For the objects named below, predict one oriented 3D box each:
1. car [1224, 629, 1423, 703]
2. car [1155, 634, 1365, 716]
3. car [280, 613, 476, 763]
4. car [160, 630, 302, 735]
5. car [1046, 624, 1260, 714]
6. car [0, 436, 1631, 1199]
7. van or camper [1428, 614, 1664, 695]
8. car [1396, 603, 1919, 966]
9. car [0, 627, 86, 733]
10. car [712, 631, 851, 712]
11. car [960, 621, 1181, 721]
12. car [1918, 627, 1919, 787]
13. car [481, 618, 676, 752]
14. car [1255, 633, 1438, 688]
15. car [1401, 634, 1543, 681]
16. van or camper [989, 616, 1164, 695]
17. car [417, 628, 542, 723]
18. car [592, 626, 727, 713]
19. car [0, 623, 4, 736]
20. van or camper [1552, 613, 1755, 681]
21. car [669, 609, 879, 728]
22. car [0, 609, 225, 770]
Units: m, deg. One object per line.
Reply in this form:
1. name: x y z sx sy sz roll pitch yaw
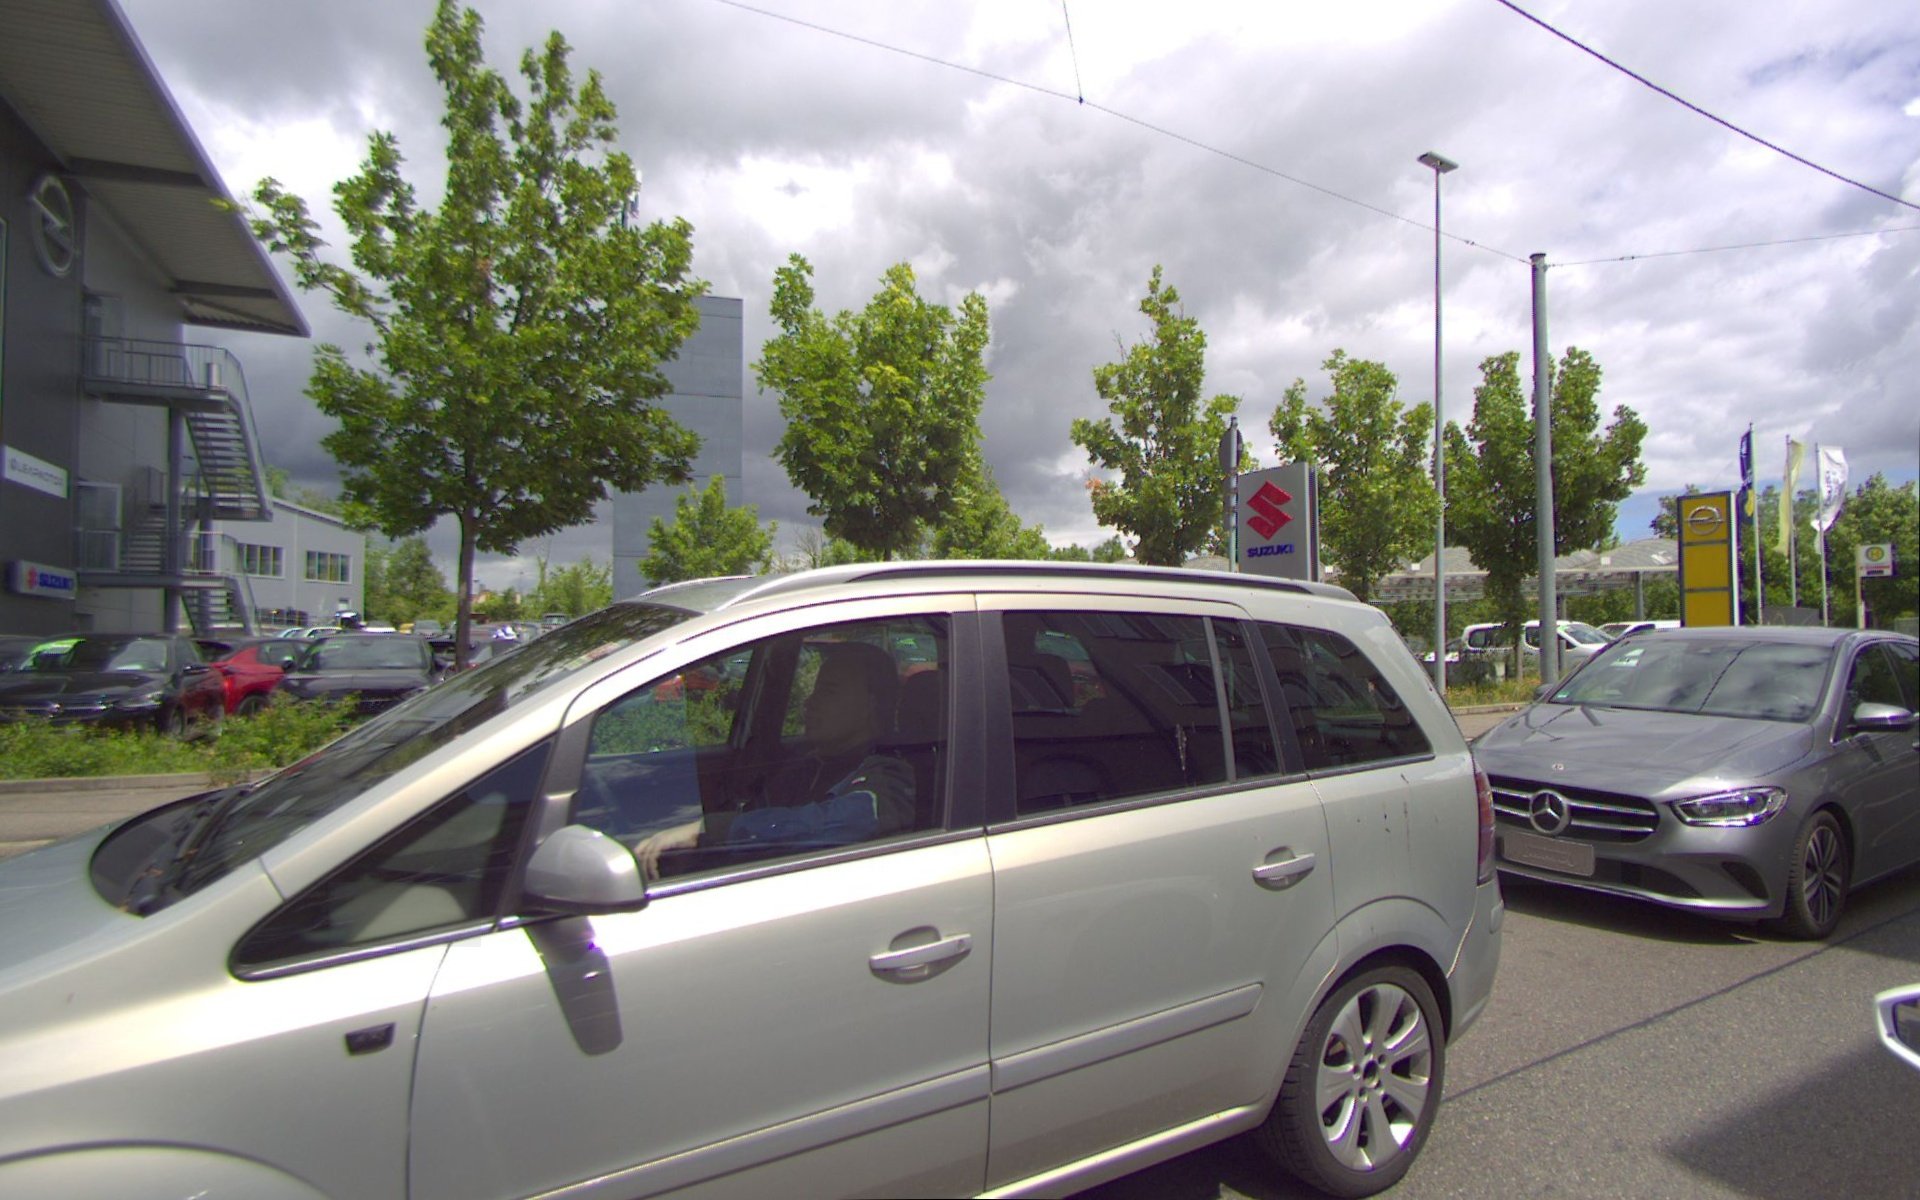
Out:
1. car: 7.758 1.401 21.688 1.779 1.427 3.671 1 -3 -37
2. car: 5.936 1.467 20.280 1.754 1.480 3.811 1 -3 -34
3. car: -7.207 1.002 12.451 1.792 1.517 4.258 0 -3 -31
4. car: -10.997 1.207 15.332 1.501 1.391 3.298 0 -3 -32
5. car: 3.545 1.266 19.034 1.794 1.517 3.790 1 -3 -35
6. car: -0.274 0.659 2.700 4.266 1.602 1.711 2 -1 -29
7. van or camper: 14.155 1.300 24.589 1.975 1.773 4.651 0 -3 -27
8. car: 4.833 0.889 6.228 4.200 1.602 1.711 2 -1 -29
9. car: -13.795 1.121 14.295 1.500 1.391 2.996 0 -3 -31
10. car: -3.475 1.324 19.151 1.501 1.391 3.298 0 -3 -32
11. car: 1.792 1.188 17.414 1.793 1.517 3.828 0 -3 -33
12. car: 10.858 1.061 9.663 3.288 1.503 1.709 2 -1 -34
13. car: -5.305 1.073 13.651 1.792 1.517 4.035 0 -3 -31
14. car: 10.894 1.692 28.487 4.453 1.455 2.005 -2 -3 38
15. car: 16.645 1.854 32.869 3.921 1.486 1.818 -1 -2 20
16. van or camper: 3.268 1.495 27.940 4.634 2.040 1.983 1 -3 -33
17. car: -7.980 1.200 16.558 1.501 1.391 3.298 0 -3 -32
18. car: -5.436 1.208 17.970 1.501 1.391 3.298 0 -3 -32
19. car: -11.911 0.898 10.451 1.790 1.412 4.051 0 -3 -28
20. van or camper: 21.270 1.431 30.948 4.861 1.989 1.990 0 -1 0
21. car: -2.912 0.984 15.003 1.792 1.517 3.961 0 -3 -31
22. car: -9.762 0.951 11.507 1.792 1.517 4.186 0 -3 -31
